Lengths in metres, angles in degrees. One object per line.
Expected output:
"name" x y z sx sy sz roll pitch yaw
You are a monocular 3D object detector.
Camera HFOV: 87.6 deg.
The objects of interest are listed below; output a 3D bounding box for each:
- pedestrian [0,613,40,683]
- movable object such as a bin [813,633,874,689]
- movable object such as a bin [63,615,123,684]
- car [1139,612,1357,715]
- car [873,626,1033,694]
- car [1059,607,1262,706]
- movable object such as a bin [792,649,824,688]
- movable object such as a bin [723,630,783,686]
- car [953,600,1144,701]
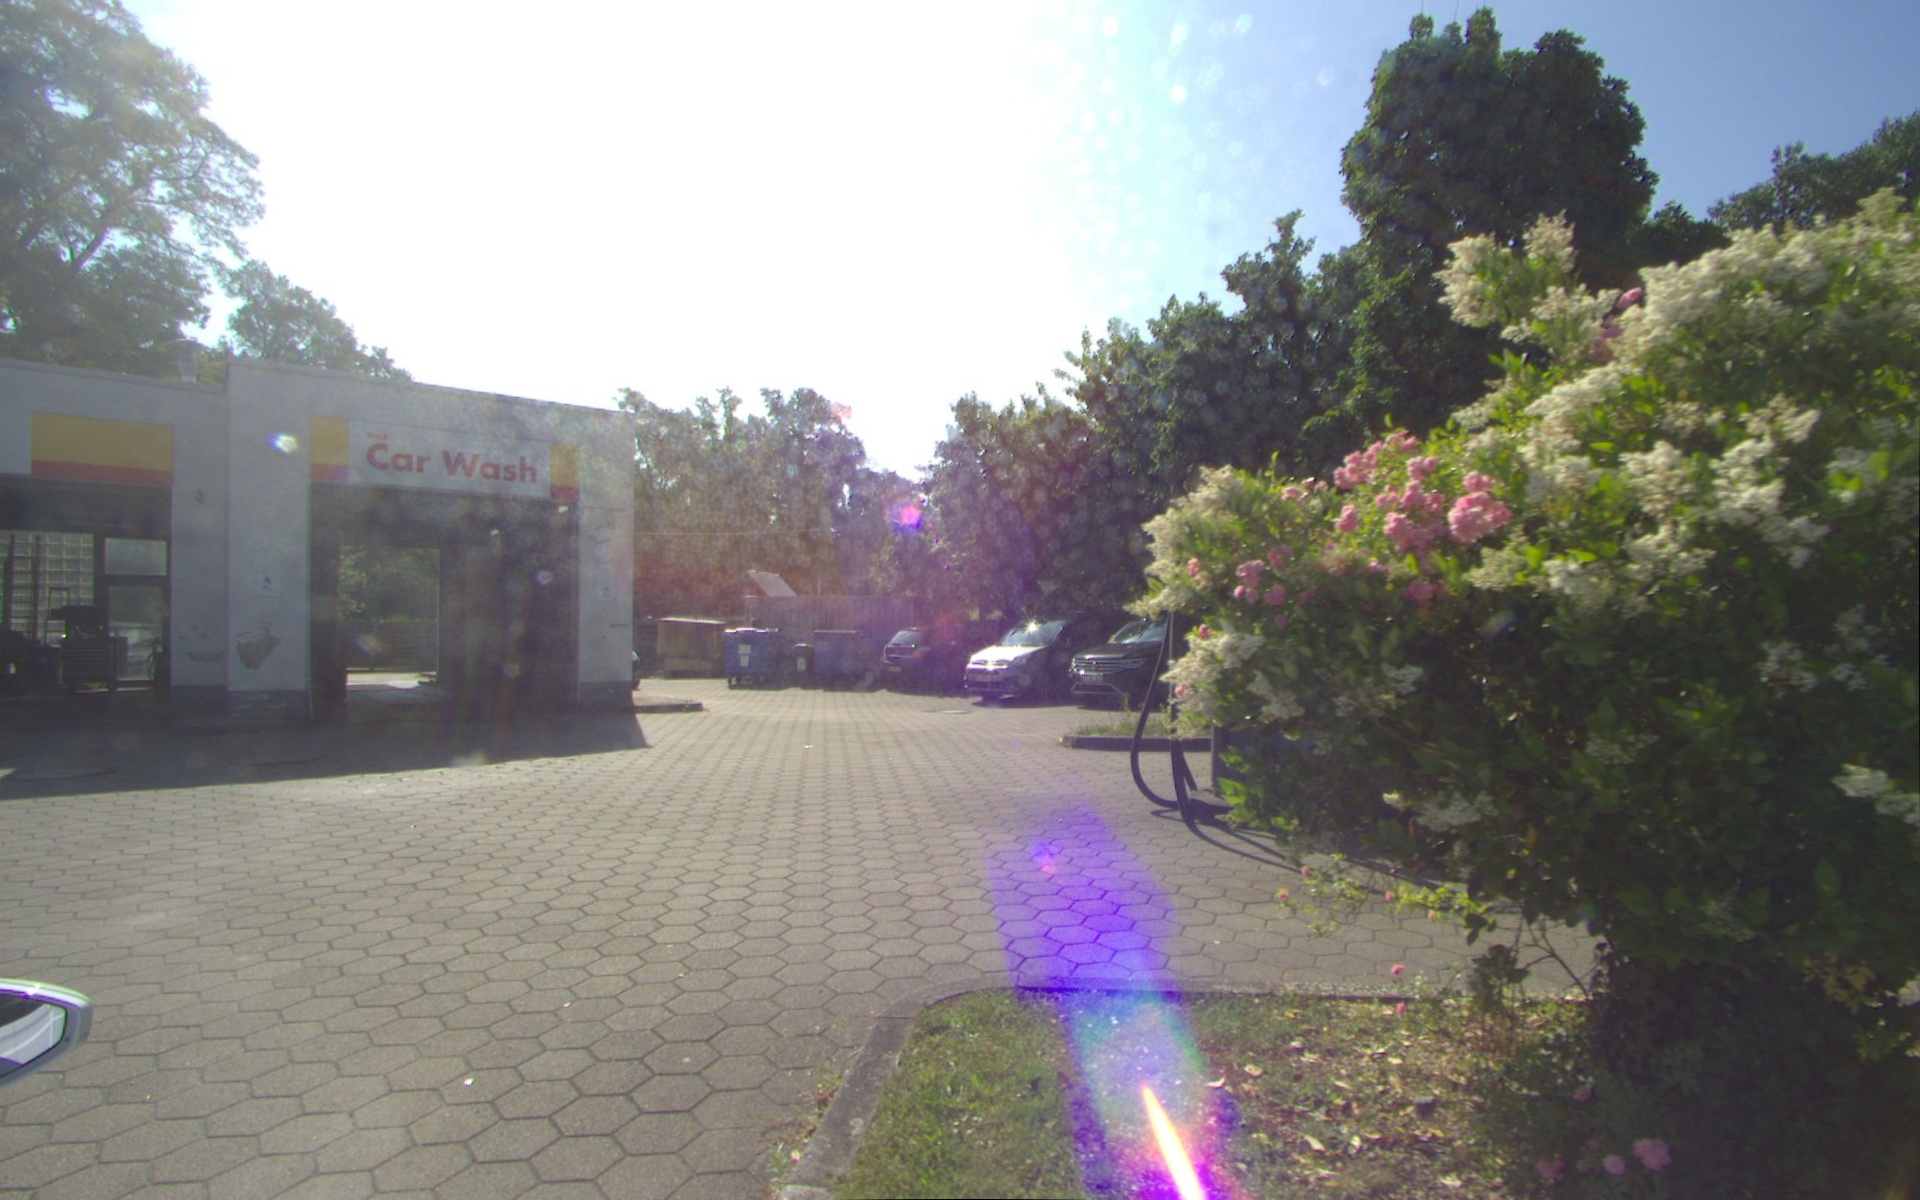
"pedestrian" -16.791 0.850 17.596 0.856 1.212 0.737 1 -3 -39
"movable object such as a bin" -2.800 1.450 24.121 1.212 1.306 0.866 0 -1 14
"movable object such as a bin" -16.082 0.911 18.586 0.790 1.251 0.541 0 -3 -36
"car" 4.910 1.005 16.824 3.897 1.530 1.670 2 -2 -41
"car" -0.131 1.365 23.677 3.469 1.457 1.671 1 0 -37
"car" 3.793 1.017 18.608 3.897 1.649 1.670 2 -2 -41
"movable object such as a bin" -3.691 1.656 24.331 0.484 0.921 0.866 0 -1 13
"movable object such as a bin" -5.038 1.404 24.423 1.211 1.342 0.850 0 -1 5
"car" 1.895 0.965 20.735 3.895 1.817 1.670 -2 0 -41
